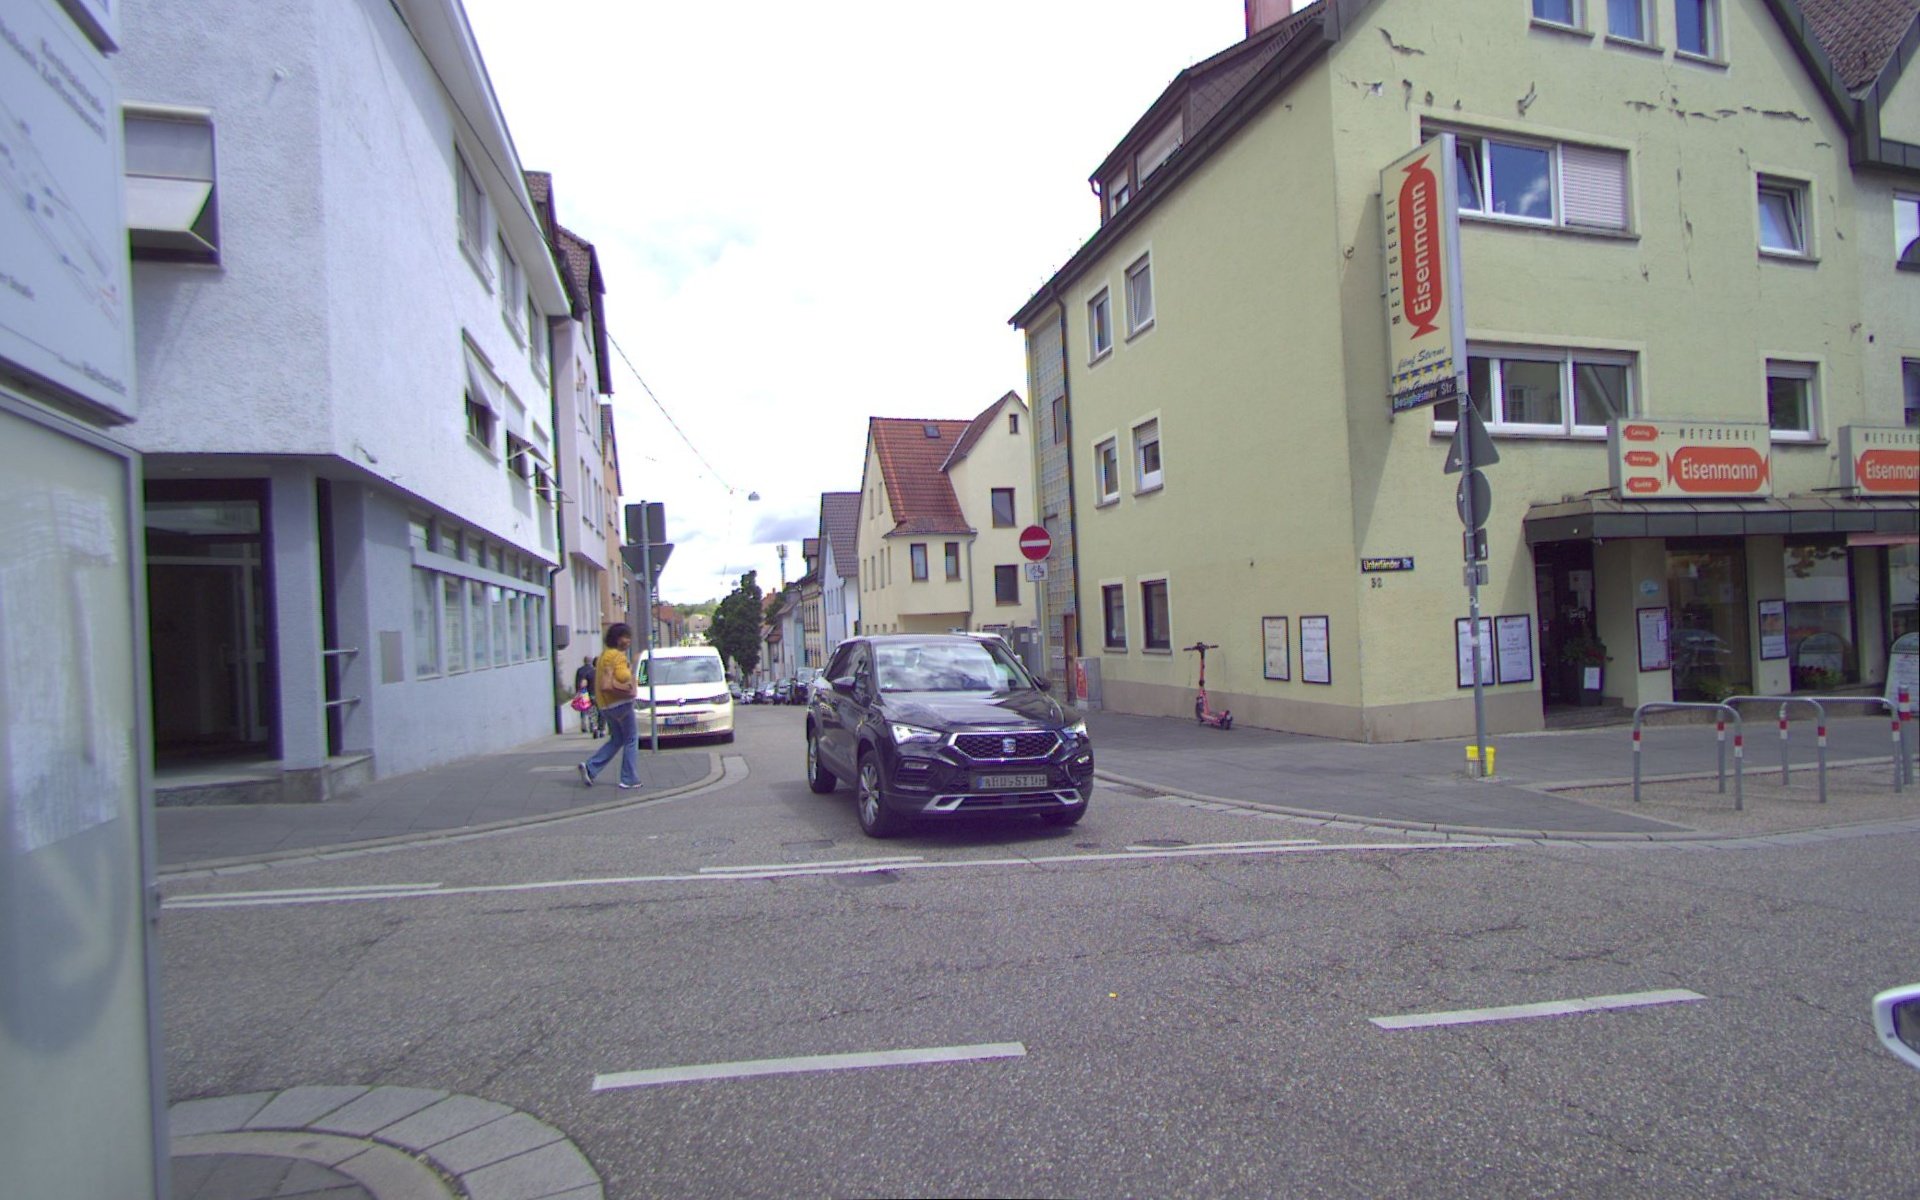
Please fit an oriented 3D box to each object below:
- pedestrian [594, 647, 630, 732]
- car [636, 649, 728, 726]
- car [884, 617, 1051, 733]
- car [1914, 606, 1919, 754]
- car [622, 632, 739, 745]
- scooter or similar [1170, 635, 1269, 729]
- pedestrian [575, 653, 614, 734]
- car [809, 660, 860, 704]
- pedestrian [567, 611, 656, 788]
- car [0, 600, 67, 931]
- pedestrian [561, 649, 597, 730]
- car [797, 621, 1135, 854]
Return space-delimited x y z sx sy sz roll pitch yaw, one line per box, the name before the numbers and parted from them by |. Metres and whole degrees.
pedestrian | -7.422 1.880 21.440 0.627 1.761 0.834 0 -2 -13
car | -6.783 2.129 24.791 1.966 1.641 4.085 -2 -4 -14
car | -0.017 1.402 19.028 1.967 1.829 4.341 -3 -4 -16
car | 13.541 0.924 11.562 4.539 1.716 2.003 0 0 -22
car | -5.189 1.642 19.029 1.836 1.842 4.828 1 -4 -14
scooter or similar | 3.885 1.212 15.175 0.581 1.298 1.590 -4 -1 -20
pedestrian | -7.294 1.858 20.073 0.627 1.563 0.706 0 -2 -13
car | -4.808 3.118 38.937 1.824 1.506 4.351 0 -2 -5
pedestrian | -3.637 1.009 10.465 0.824 1.761 0.635 1 -3 -23
car | -6.650 0.797 3.956 4.302 1.642 1.955 1 -2 -29
pedestrian | -8.599 2.000 22.698 0.627 1.761 0.834 0 -2 -13
car | -0.249 1.027 9.259 1.885 1.589 4.356 0 -2 -18
